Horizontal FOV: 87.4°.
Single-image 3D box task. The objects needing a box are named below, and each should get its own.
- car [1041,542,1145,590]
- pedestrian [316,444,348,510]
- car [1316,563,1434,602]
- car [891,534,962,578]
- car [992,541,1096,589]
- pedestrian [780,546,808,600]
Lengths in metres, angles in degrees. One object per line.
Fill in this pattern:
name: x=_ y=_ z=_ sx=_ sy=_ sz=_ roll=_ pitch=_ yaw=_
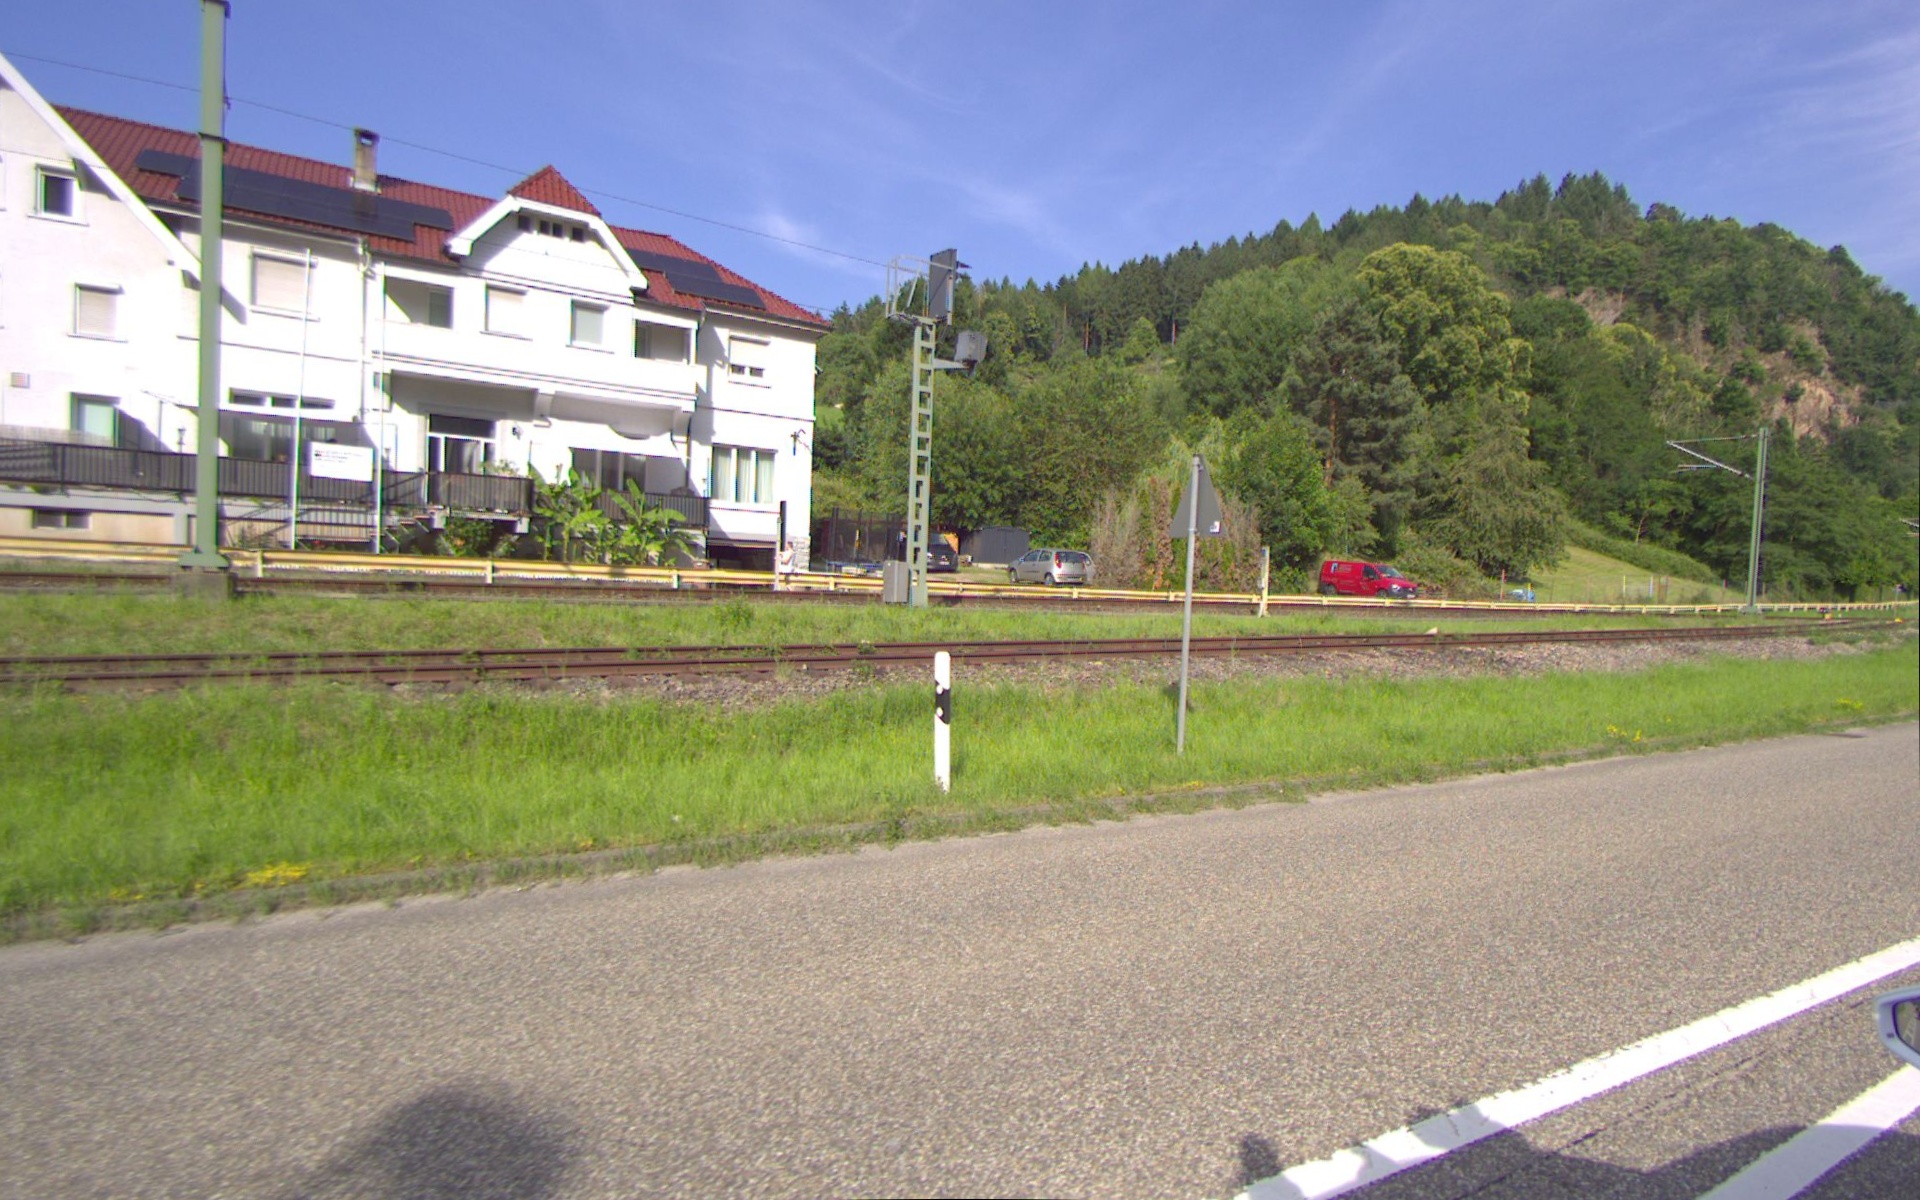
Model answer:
car: x=5.212 y=-1.352 z=39.876 sx=1.976 sy=1.714 sz=4.125 roll=2 pitch=1 yaw=-29
pedestrian: x=-16.573 y=-3.229 z=26.501 sx=0.670 sy=1.638 sz=0.603 roll=1 pitch=2 yaw=-30
car: x=20.261 y=-0.905 z=49.274 sx=2.424 sy=1.714 sz=4.946 roll=2 pitch=1 yaw=-27
car: x=-1.617 y=-2.099 z=47.086 sx=1.795 sy=1.814 sz=3.973 roll=1 pitch=4 yaw=-26
car: x=3.180 y=-1.350 z=38.730 sx=1.976 sy=1.714 sz=4.125 roll=2 pitch=1 yaw=-29
pedestrian: x=-5.155 y=-0.846 z=31.092 sx=0.602 sy=1.638 sz=0.671 roll=1 pitch=2 yaw=-32
